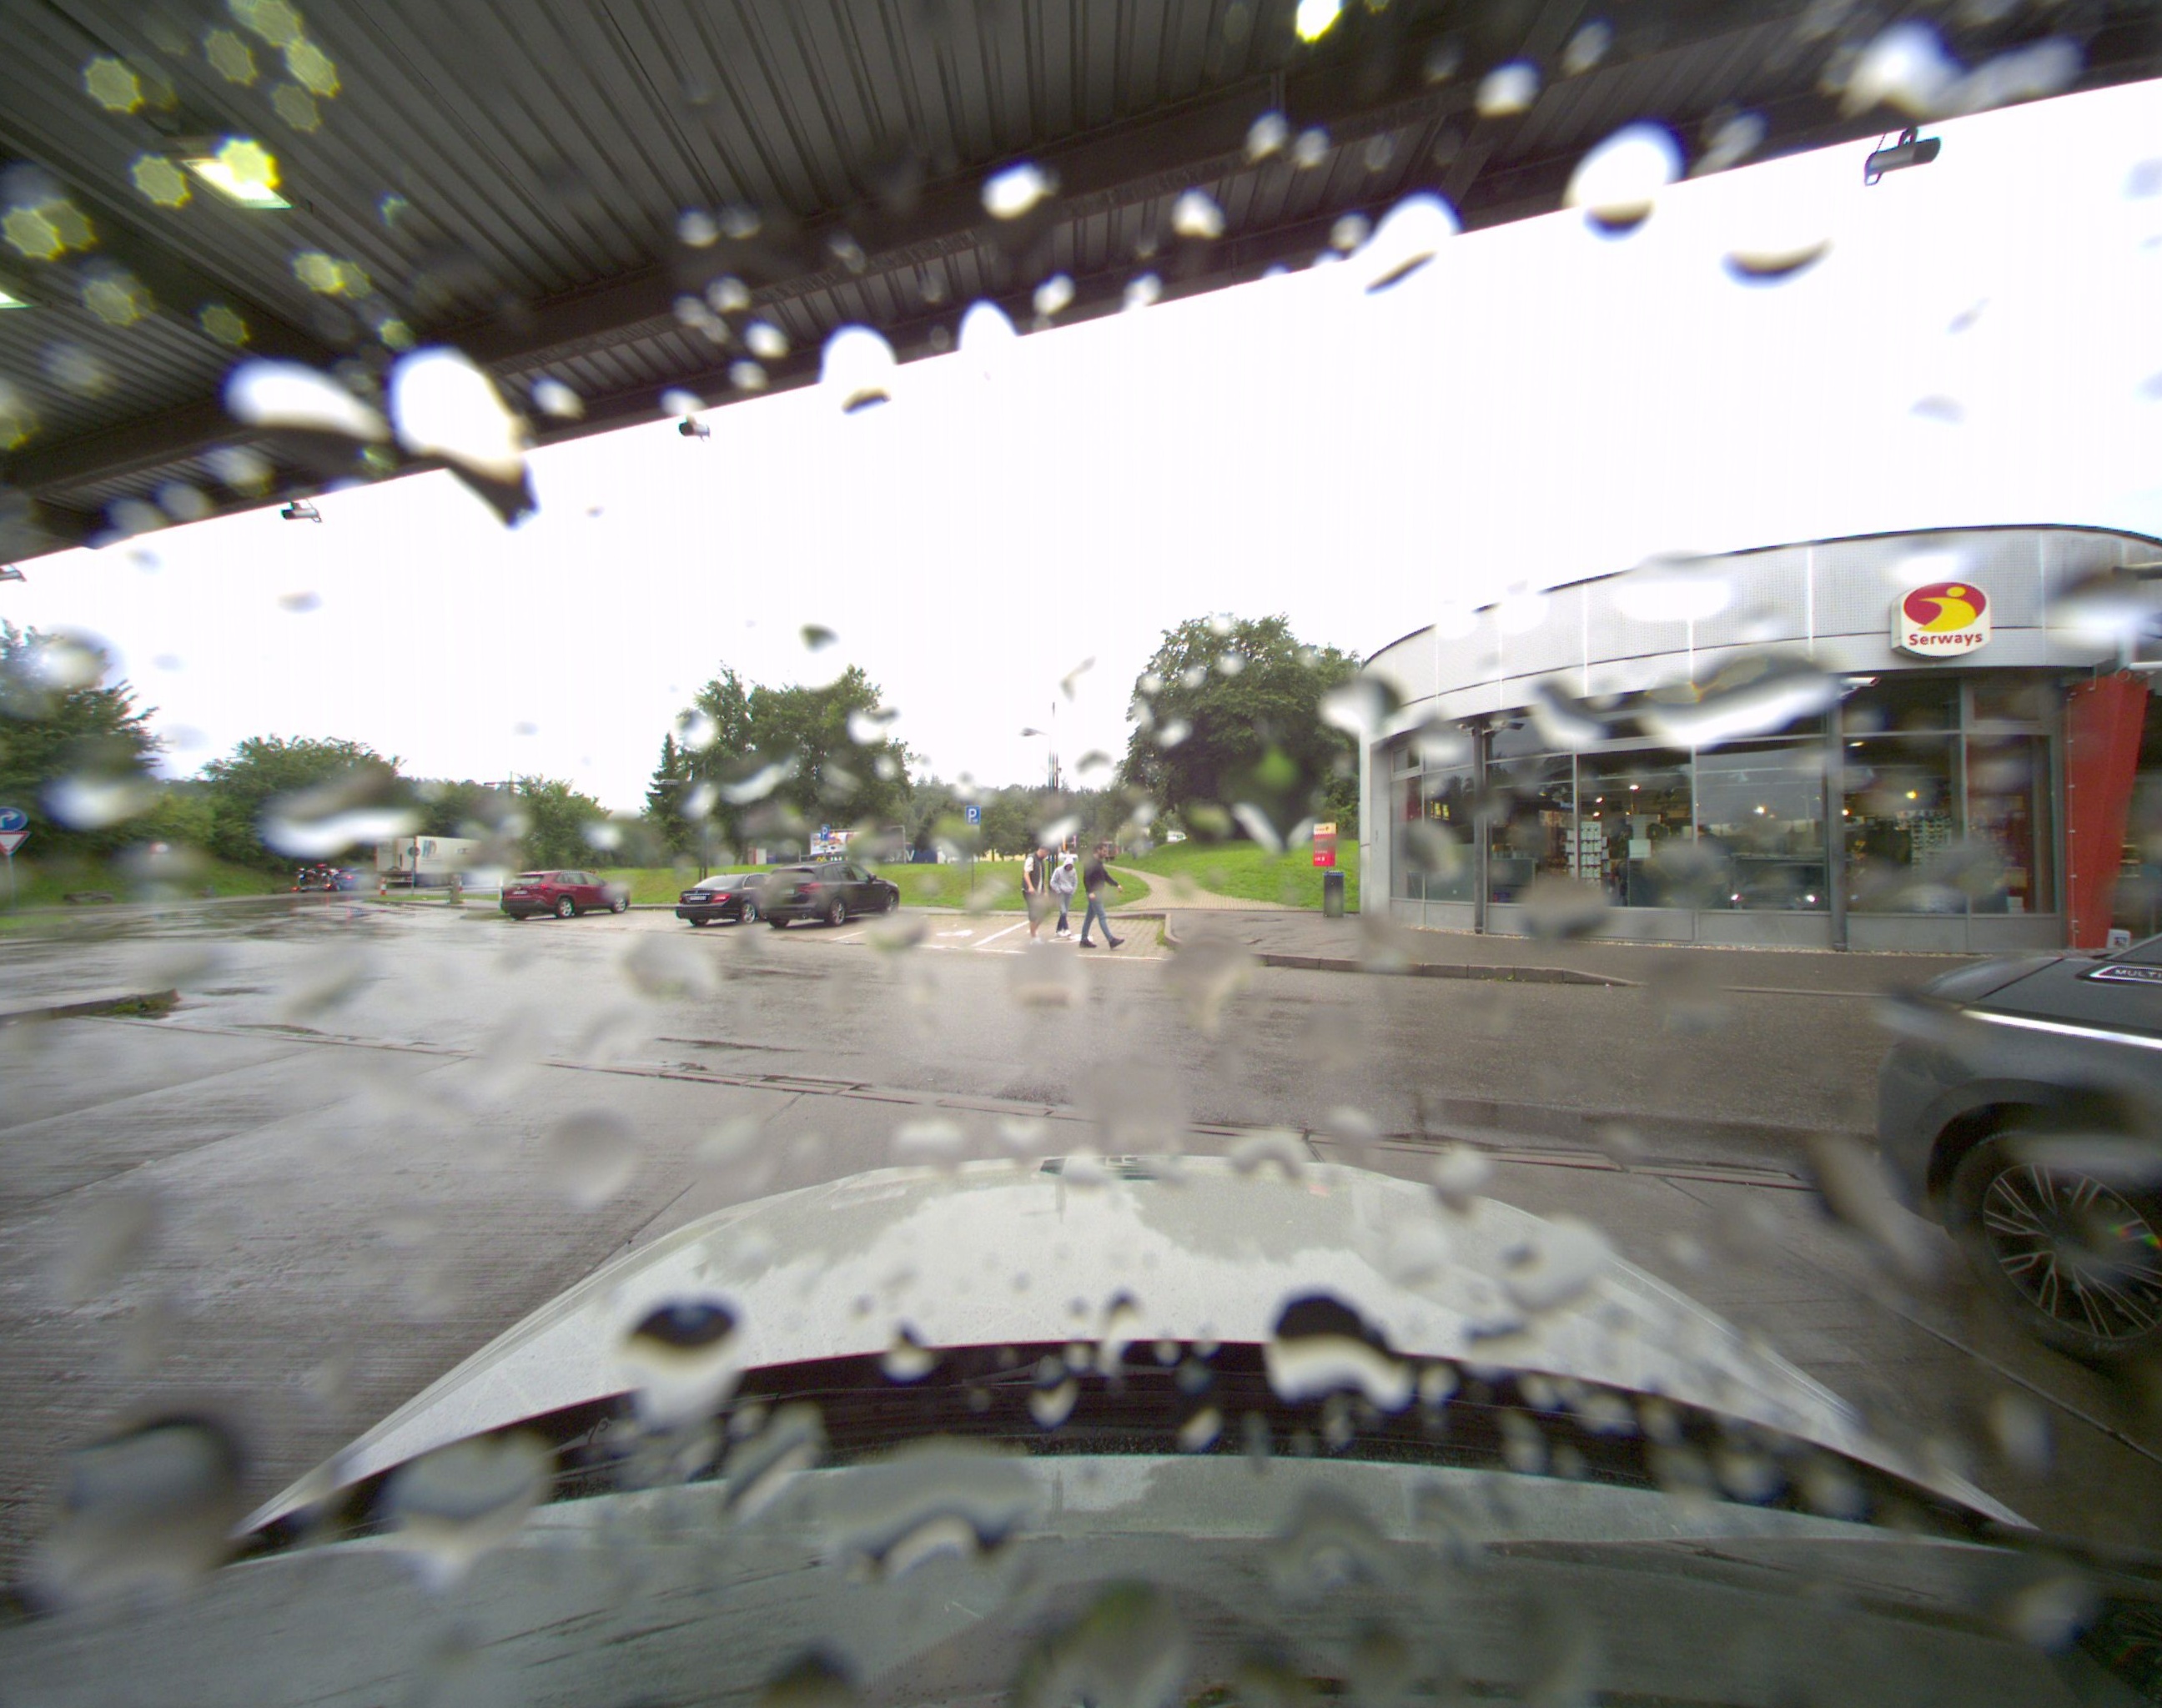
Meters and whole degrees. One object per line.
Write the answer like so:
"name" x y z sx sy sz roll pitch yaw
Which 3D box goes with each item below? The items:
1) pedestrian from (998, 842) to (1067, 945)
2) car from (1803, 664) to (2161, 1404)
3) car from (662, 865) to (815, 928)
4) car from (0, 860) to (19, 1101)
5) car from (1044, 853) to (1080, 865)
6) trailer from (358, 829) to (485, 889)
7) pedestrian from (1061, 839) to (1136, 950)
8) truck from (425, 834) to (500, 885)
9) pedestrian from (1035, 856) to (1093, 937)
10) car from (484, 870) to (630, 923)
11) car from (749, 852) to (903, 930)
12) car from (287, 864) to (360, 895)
"pedestrian" -0.902 0.722 15.187 0.963 1.848 0.778 -2 0 30
"car" 3.716 0.468 1.214 1.809 1.948 4.002 -1 0 2
"car" -9.616 1.143 23.283 1.871 1.565 4.200 -2 0 13
"car" -7.835 0.822 2.838 1.809 1.565 4.999 0 0 -2
"car" -3.170 0.816 134.063 5.376 2.013 2.468 -1 0 21
"trailer" -54.881 0.438 68.469 3.466 4.557 13.827 0 -1 -18
"pedestrian" 0.313 0.679 14.249 0.989 1.864 0.804 -2 0 30
"truck" -57.103 0.512 75.410 3.467 4.557 6.694 0 -1 -18
"pedestrian" -0.338 0.832 16.269 0.880 1.550 0.665 -2 0 31
"car" -18.157 1.423 28.508 1.873 1.596 4.364 -2 0 8
"car" -6.615 0.893 21.726 1.871 1.828 4.429 -2 0 13
"car" -49.203 1.604 53.035 1.934 1.838 4.361 -1 0 -20
